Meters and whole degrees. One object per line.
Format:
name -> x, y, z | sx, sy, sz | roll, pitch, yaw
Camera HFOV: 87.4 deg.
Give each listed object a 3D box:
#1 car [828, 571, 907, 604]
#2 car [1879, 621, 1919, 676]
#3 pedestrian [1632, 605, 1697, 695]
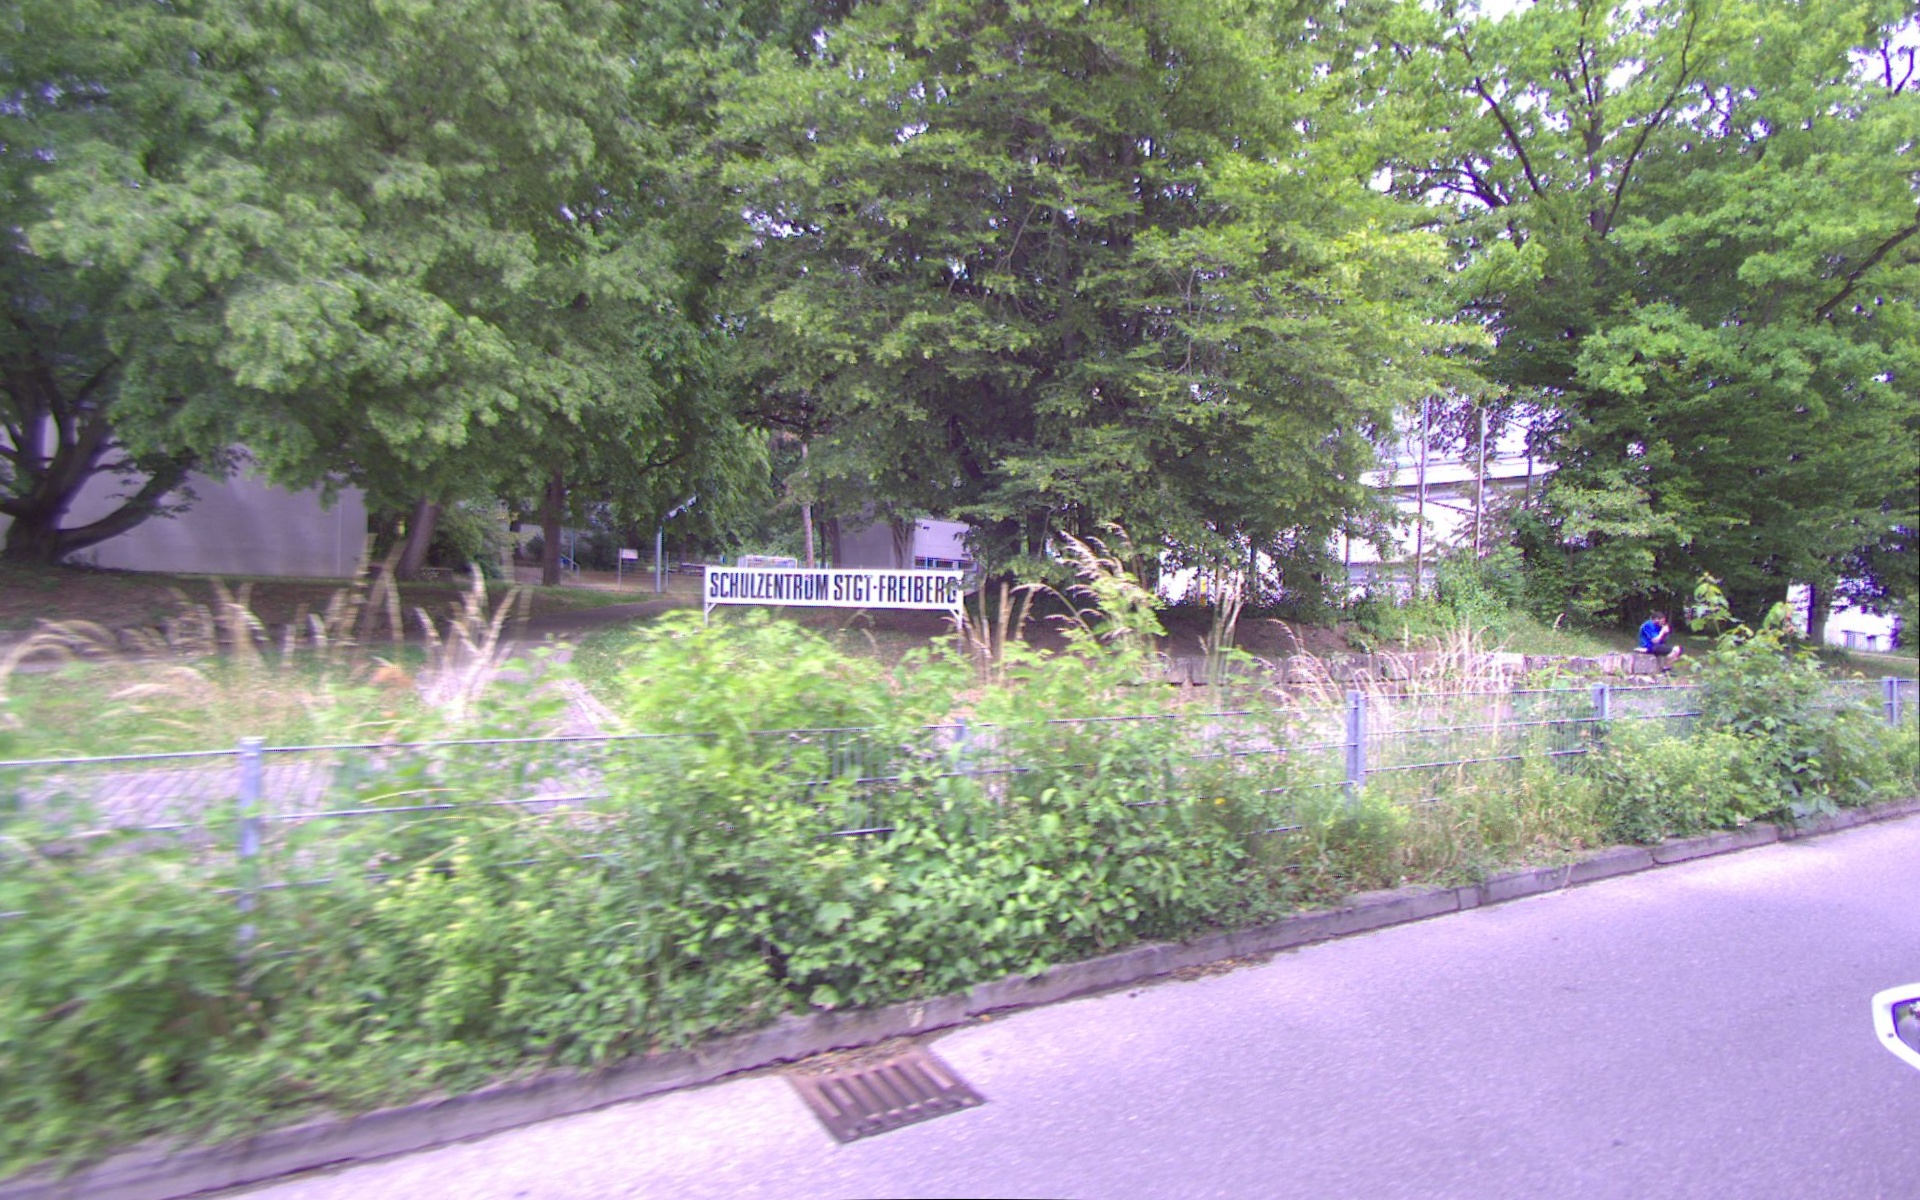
car -> -5.205, -0.673, 56.155 | 4.385, 1.717, 1.963 | 0, -1, 43
car -> 37.674, 1.853, 38.492 | 3.937, 2.040, 1.992 | 1, -1, -18
pedestrian -> 13.467, 0.941, 19.213 | 0.800, 1.684, 0.755 | 1, -1, -32
